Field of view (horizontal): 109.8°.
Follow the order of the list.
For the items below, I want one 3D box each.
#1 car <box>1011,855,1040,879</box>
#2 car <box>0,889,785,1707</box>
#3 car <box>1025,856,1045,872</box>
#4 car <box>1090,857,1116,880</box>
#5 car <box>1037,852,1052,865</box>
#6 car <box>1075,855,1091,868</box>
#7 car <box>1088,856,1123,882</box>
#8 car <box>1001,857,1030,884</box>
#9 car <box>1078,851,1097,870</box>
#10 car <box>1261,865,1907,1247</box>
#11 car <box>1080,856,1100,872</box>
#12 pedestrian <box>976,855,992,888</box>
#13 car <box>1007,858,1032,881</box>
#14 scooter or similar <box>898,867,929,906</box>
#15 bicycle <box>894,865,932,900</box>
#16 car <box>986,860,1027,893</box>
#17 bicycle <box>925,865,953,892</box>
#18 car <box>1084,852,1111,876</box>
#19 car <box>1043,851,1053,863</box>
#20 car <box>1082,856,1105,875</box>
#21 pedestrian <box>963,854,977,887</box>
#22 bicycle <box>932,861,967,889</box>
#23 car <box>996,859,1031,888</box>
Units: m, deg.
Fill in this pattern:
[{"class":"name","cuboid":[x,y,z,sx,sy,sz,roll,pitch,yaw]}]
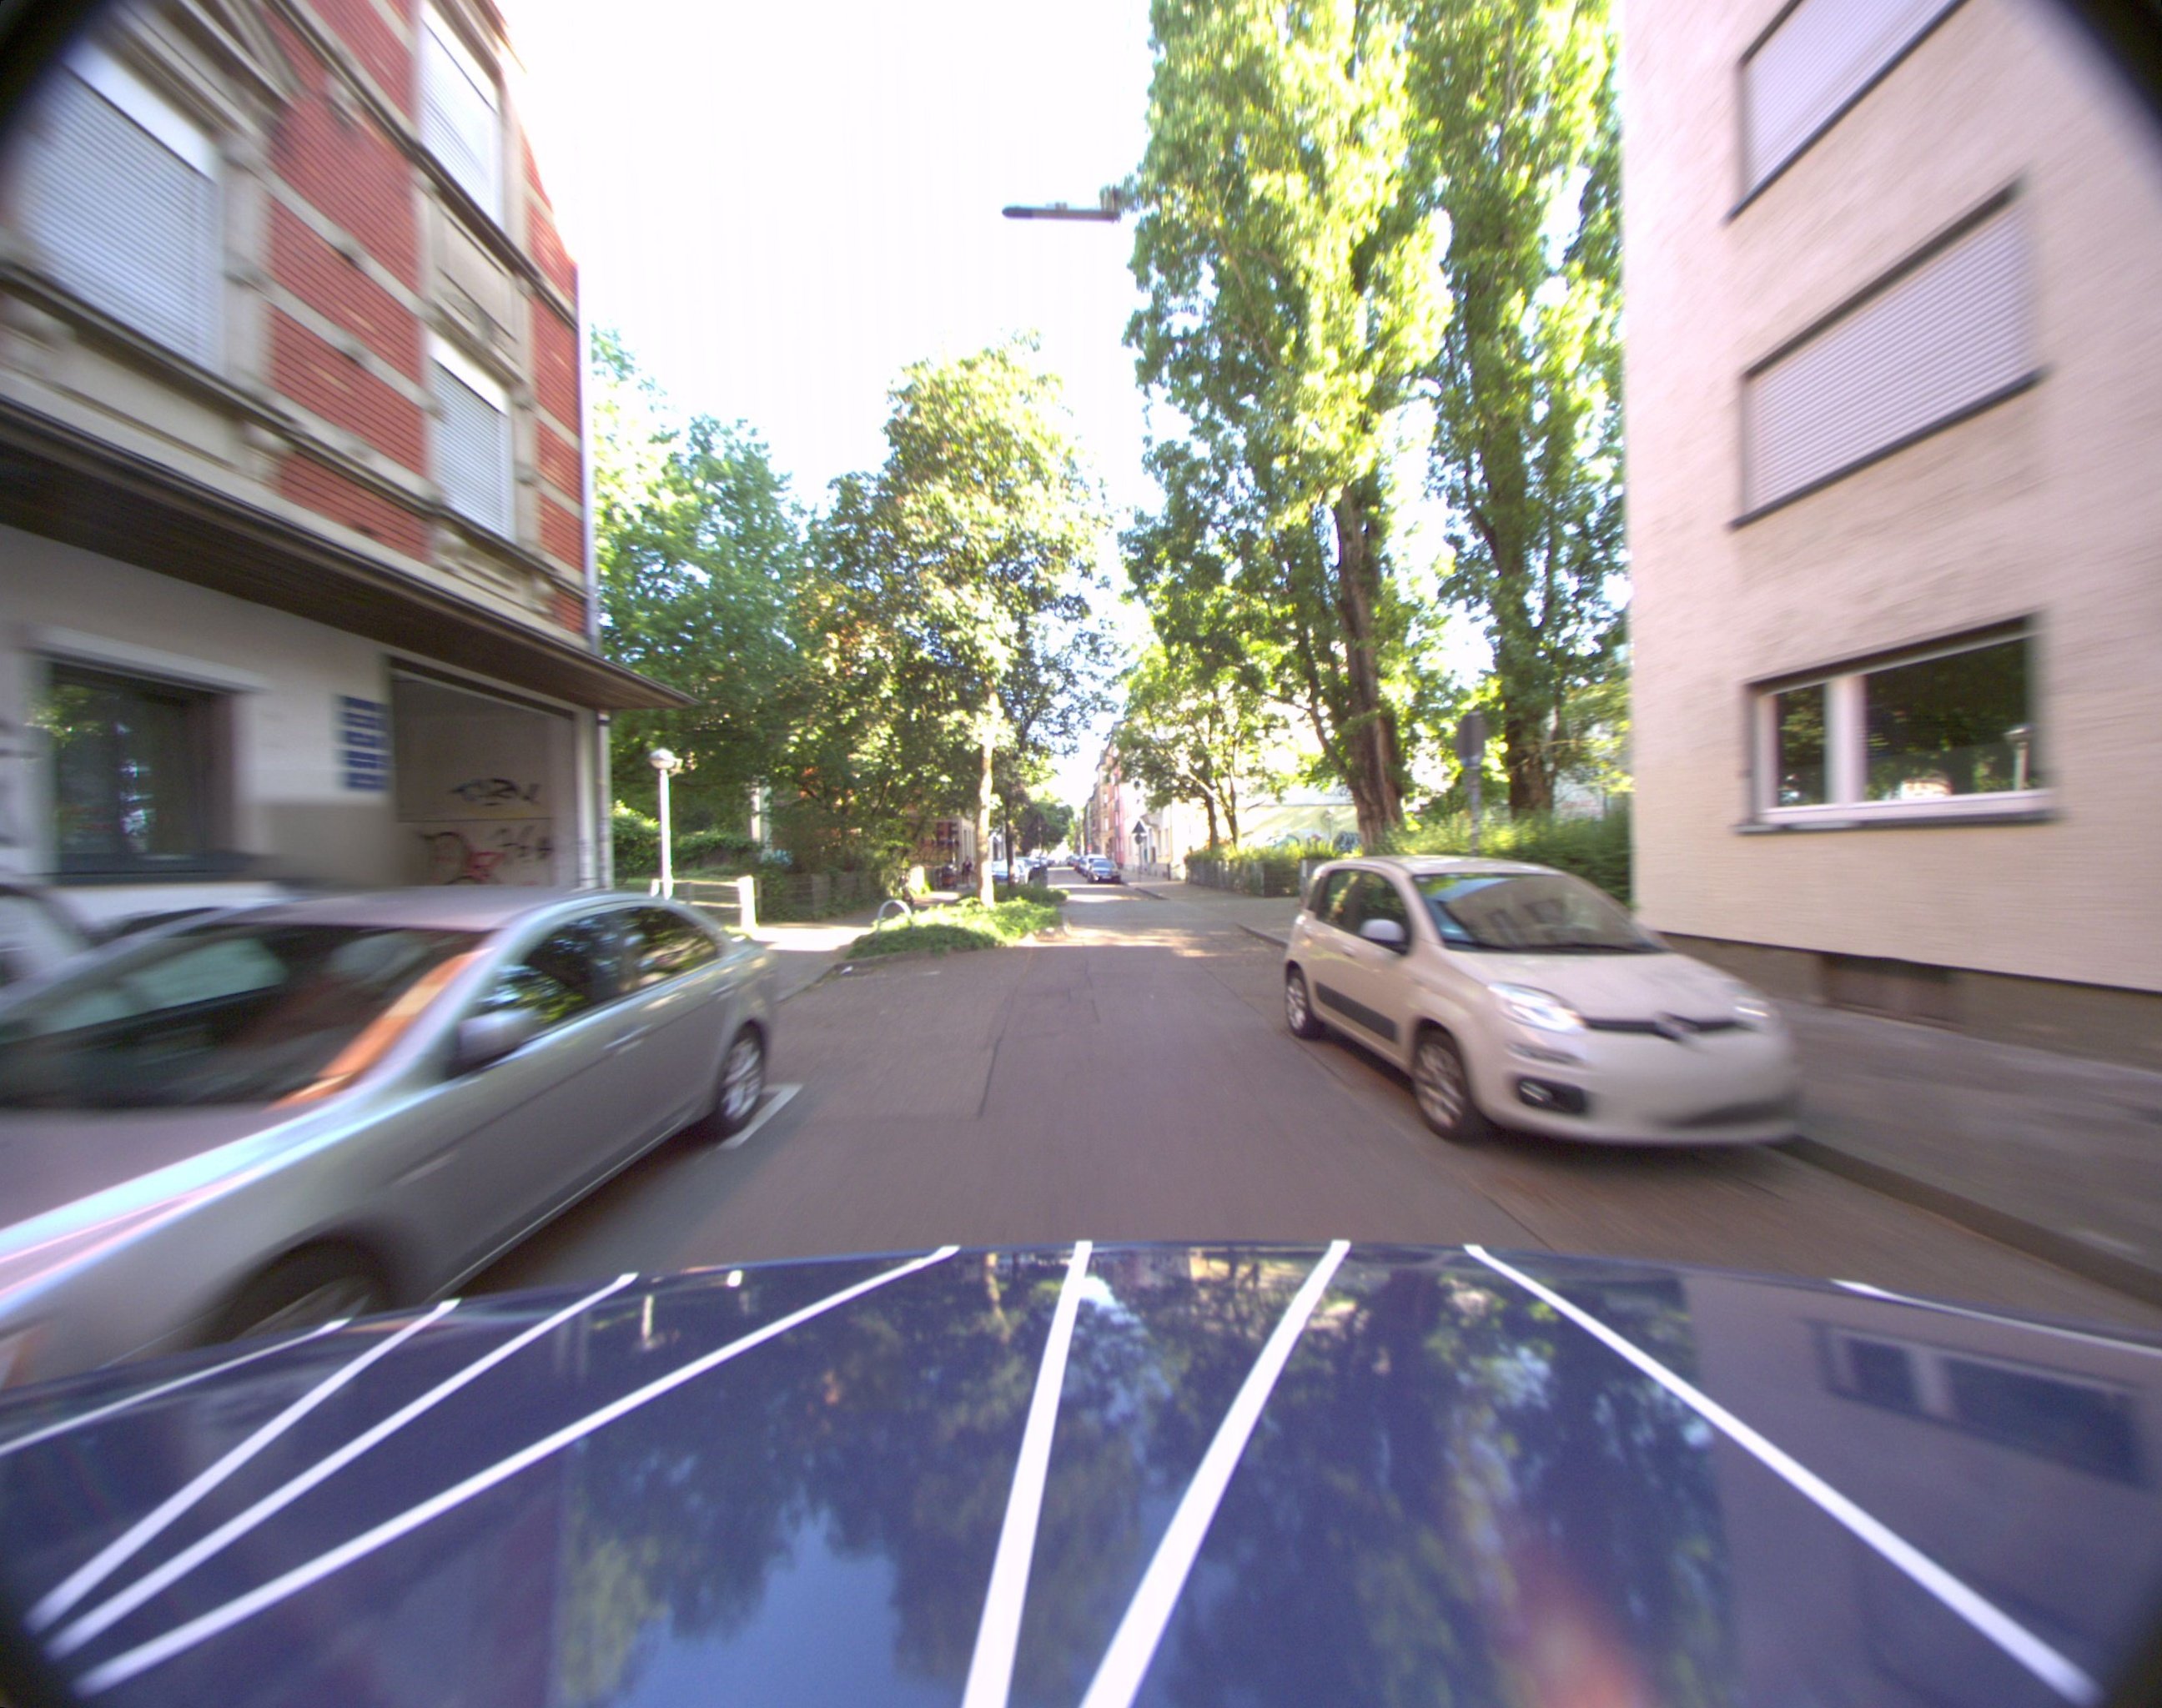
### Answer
[{"class":"car","cuboid":[-4.102,0.932,56.564,1.770,1.657,4.328,0,0,0]},{"class":"car","cuboid":[-2.803,1.020,2.849,1.726,1.553,4.398,-1,0,-2]},{"class":"car","cuboid":[-4.470,0.970,74.329,1.769,1.508,4.102,2,0,-2]},{"class":"car","cuboid":[1.488,0.937,51.060,1.597,1.442,3.486,2,0,2]},{"class":"car","cuboid":[-5.555,0.691,115.790,1.866,1.970,4.481,2,0,2]},{"class":"car","cuboid":[0.223,0.889,93.630,1.769,1.524,4.102,2,0,-2]},{"class":"car","cuboid":[1.415,0.864,45.589,1.784,1.435,4.391,2,0,-2]},{"class":"car","cuboid":[-4.049,1.014,47.418,1.597,1.576,3.763,0,0,-2]},{"class":"car","cuboid":[0.642,0.638,78.419,1.769,1.814,4.102,2,0,-2]},{"class":"car","cuboid":[2.635,0.885,5.189,1.679,1.531,3.867,0,0,-4]},{"class":"car","cuboid":[0.817,0.931,73.076,1.769,1.463,3.815,2,0,-2]},{"class":"pedestrian","cuboid":[-5.122,0.917,40.008,0.712,1.699,0.752,2,0,-2]},{"class":"car","cuboid":[-4.179,1.043,51.775,1.598,1.442,4.001,0,0,-4]},{"class":"scooter or similar","cuboid":[-5.618,1.075,25.464,0.547,1.254,1.469,0,0,-32]},{"class":"bicycle","cuboid":[-6.481,1.066,29.515,0.849,1.260,2.692,-1,0,0]},{"class":"car","cuboid":[-3.591,1.045,37.221,1.725,1.485,4.412,0,0,-3]},{"class":"bicycle","cuboid":[-6.525,1.102,35.011,0.849,1.193,1.982,-1,0,0]},{"class":"car","cuboid":[1.278,0.780,59.036,1.754,1.731,4.313,2,0,-3]},{"class":"car","cuboid":[-6.149,0.536,141.034,1.769,2.006,4.263,2,0,-2]},{"class":"car","cuboid":[1.093,0.921,63.970,1.674,1.519,4.086,2,0,4]},{"class":"pedestrian","cuboid":[-5.834,0.838,39.933,0.599,1.699,0.706,2,1,-2]},{"class":"bicycle","cuboid":[-6.493,1.005,37.656,1.294,1.294,2.327,1,0,1]},{"class":"car","cuboid":[-3.697,1.057,42.118,1.663,1.485,4.352,0,0,-1]}]
